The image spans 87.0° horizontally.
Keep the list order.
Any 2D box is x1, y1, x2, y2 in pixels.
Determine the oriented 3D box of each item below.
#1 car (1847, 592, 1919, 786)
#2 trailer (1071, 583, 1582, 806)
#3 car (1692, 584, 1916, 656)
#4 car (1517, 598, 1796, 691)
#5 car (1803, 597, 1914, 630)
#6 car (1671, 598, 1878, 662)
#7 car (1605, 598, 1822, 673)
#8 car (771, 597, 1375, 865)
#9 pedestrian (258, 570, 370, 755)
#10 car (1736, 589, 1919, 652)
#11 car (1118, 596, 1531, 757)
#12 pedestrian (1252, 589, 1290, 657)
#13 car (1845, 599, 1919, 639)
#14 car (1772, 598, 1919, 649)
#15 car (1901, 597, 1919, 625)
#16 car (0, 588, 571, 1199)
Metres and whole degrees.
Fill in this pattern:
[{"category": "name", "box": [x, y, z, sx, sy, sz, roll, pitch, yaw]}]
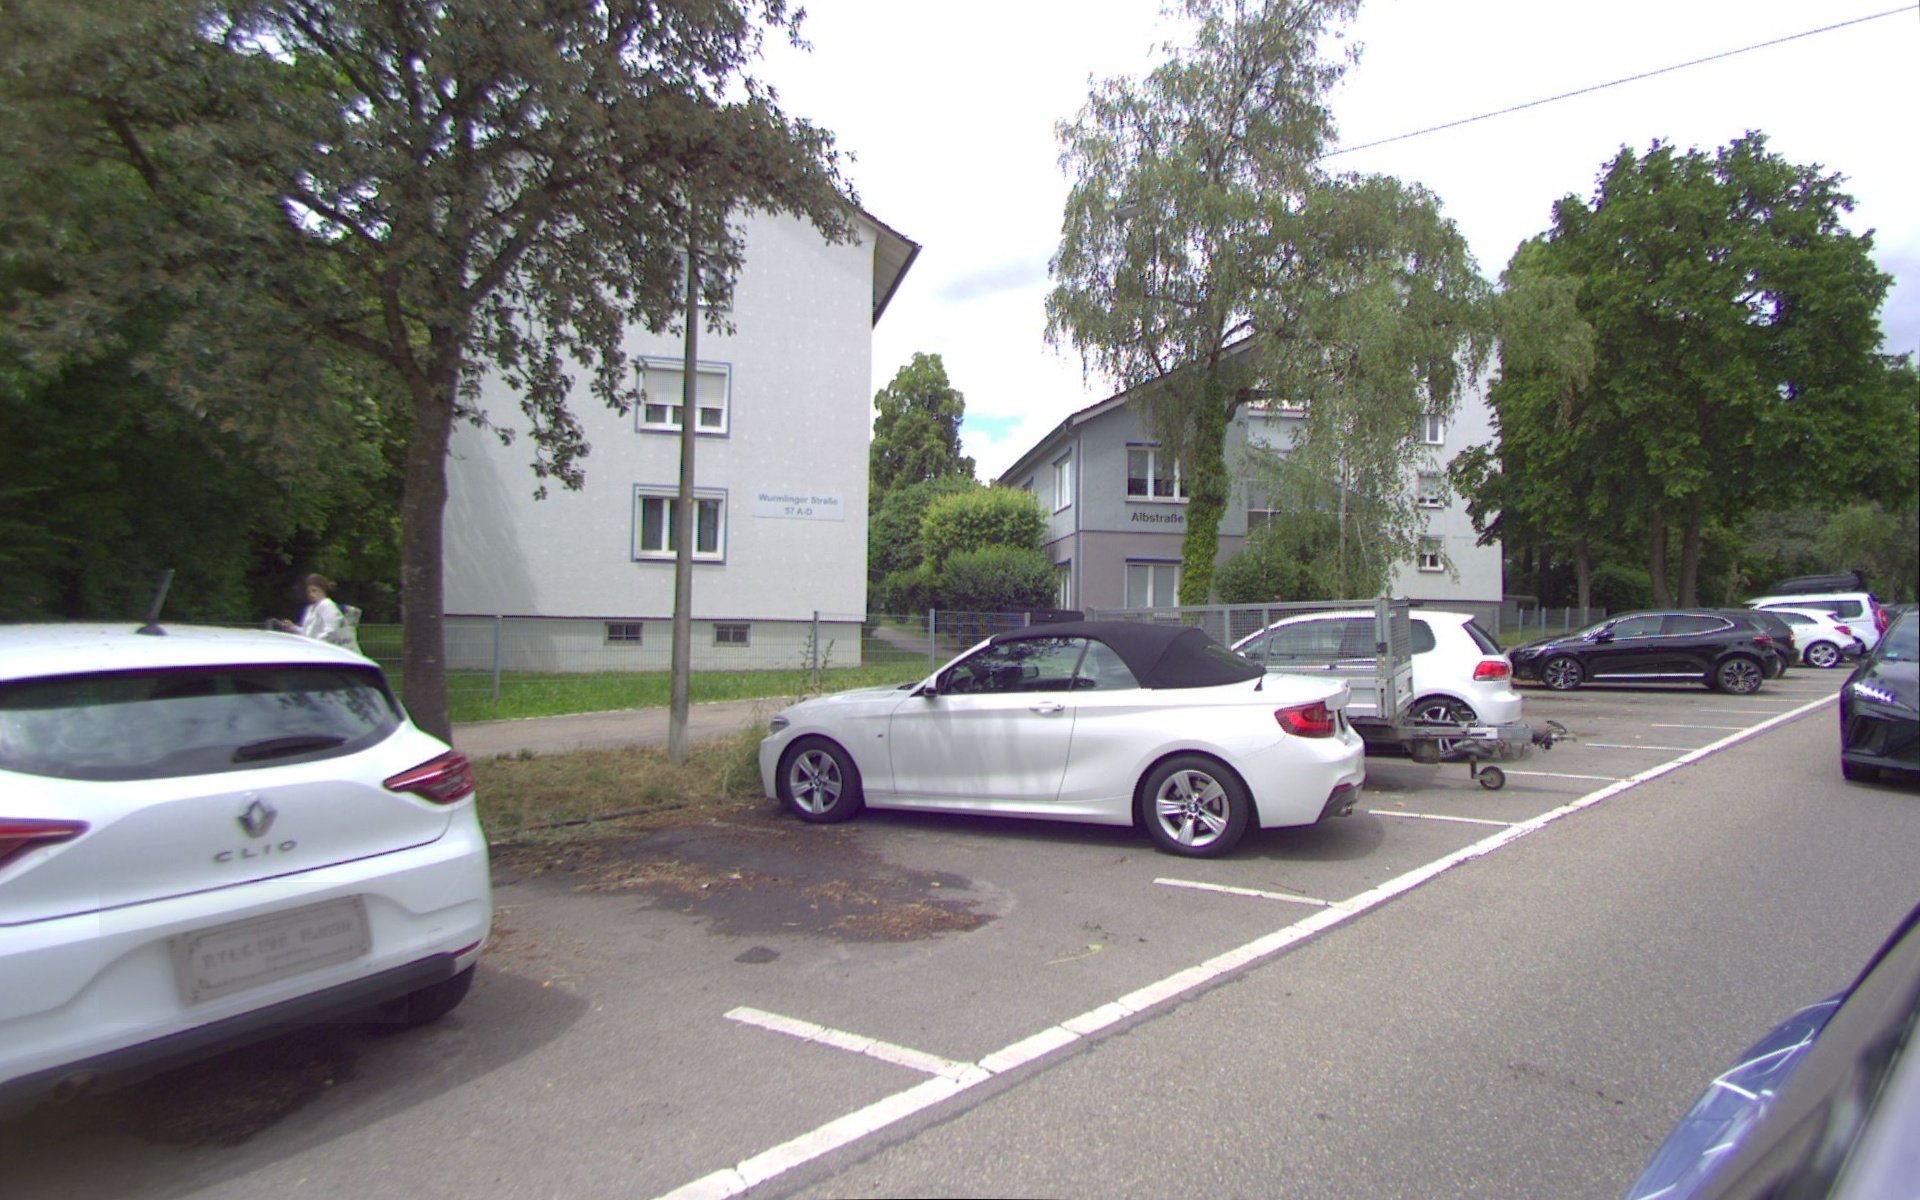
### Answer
[{"category": "car", "box": [9.254, 0.692, 8.839, 3.727, 1.511, 1.811, -1, 1, -41]}, {"category": "trailer", "box": [3.122, 0.667, 8.900, 3.968, 1.572, 1.640, 0, 0, 32]}, {"category": "car", "box": [22.350, 0.542, 27.034, 4.178, 1.781, 1.843, -1, -1, 26]}, {"category": "car", "box": [12.235, 0.770, 18.098, 3.815, 1.452, 1.702, -1, 1, 25]}, {"category": "car", "box": [44.567, 0.677, 50.308, 3.824, 1.578, 1.637, -1, -1, 30]}, {"category": "car", "box": [19.959, 0.717, 25.026, 3.833, 1.457, 1.694, -2, -1, 36]}, {"category": "car", "box": [15.979, 0.736, 21.706, 3.483, 1.483, 1.698, -1, -1, 30]}, {"category": "car", "box": [0.819, 0.766, 7.280, 3.956, 1.483, 1.835, -1, -1, 24]}, {"category": "pedestrian", "box": [-6.074, 0.558, 9.557, 0.762, 1.665, 0.695, 0, -1, -22]}, {"category": "car", "box": [24.664, 0.585, 28.928, 3.833, 1.664, 1.829, -2, -1, 36]}, {"category": "car", "box": [3.914, 0.747, 11.071, 3.963, 1.483, 1.773, -1, -1, 29]}, {"category": "pedestrian", "box": [7.115, 0.507, 23.148, 0.688, 1.523, 0.770, 0, -1, 30]}, {"category": "car", "box": [39.510, 0.768, 42.045, 3.824, 1.633, 1.637, -1, -1, 30]}, {"category": "car", "box": [26.984, 0.698, 30.469, 3.833, 1.452, 1.634, -2, -1, 36]}, {"category": "car", "box": [54.732, 0.586, 55.974, 3.842, 1.582, 1.630, -2, -1, 42]}, {"category": "car", "box": [-3.459, 0.755, 3.786, 3.970, 1.483, 1.775, -1, -1, 33]}]
